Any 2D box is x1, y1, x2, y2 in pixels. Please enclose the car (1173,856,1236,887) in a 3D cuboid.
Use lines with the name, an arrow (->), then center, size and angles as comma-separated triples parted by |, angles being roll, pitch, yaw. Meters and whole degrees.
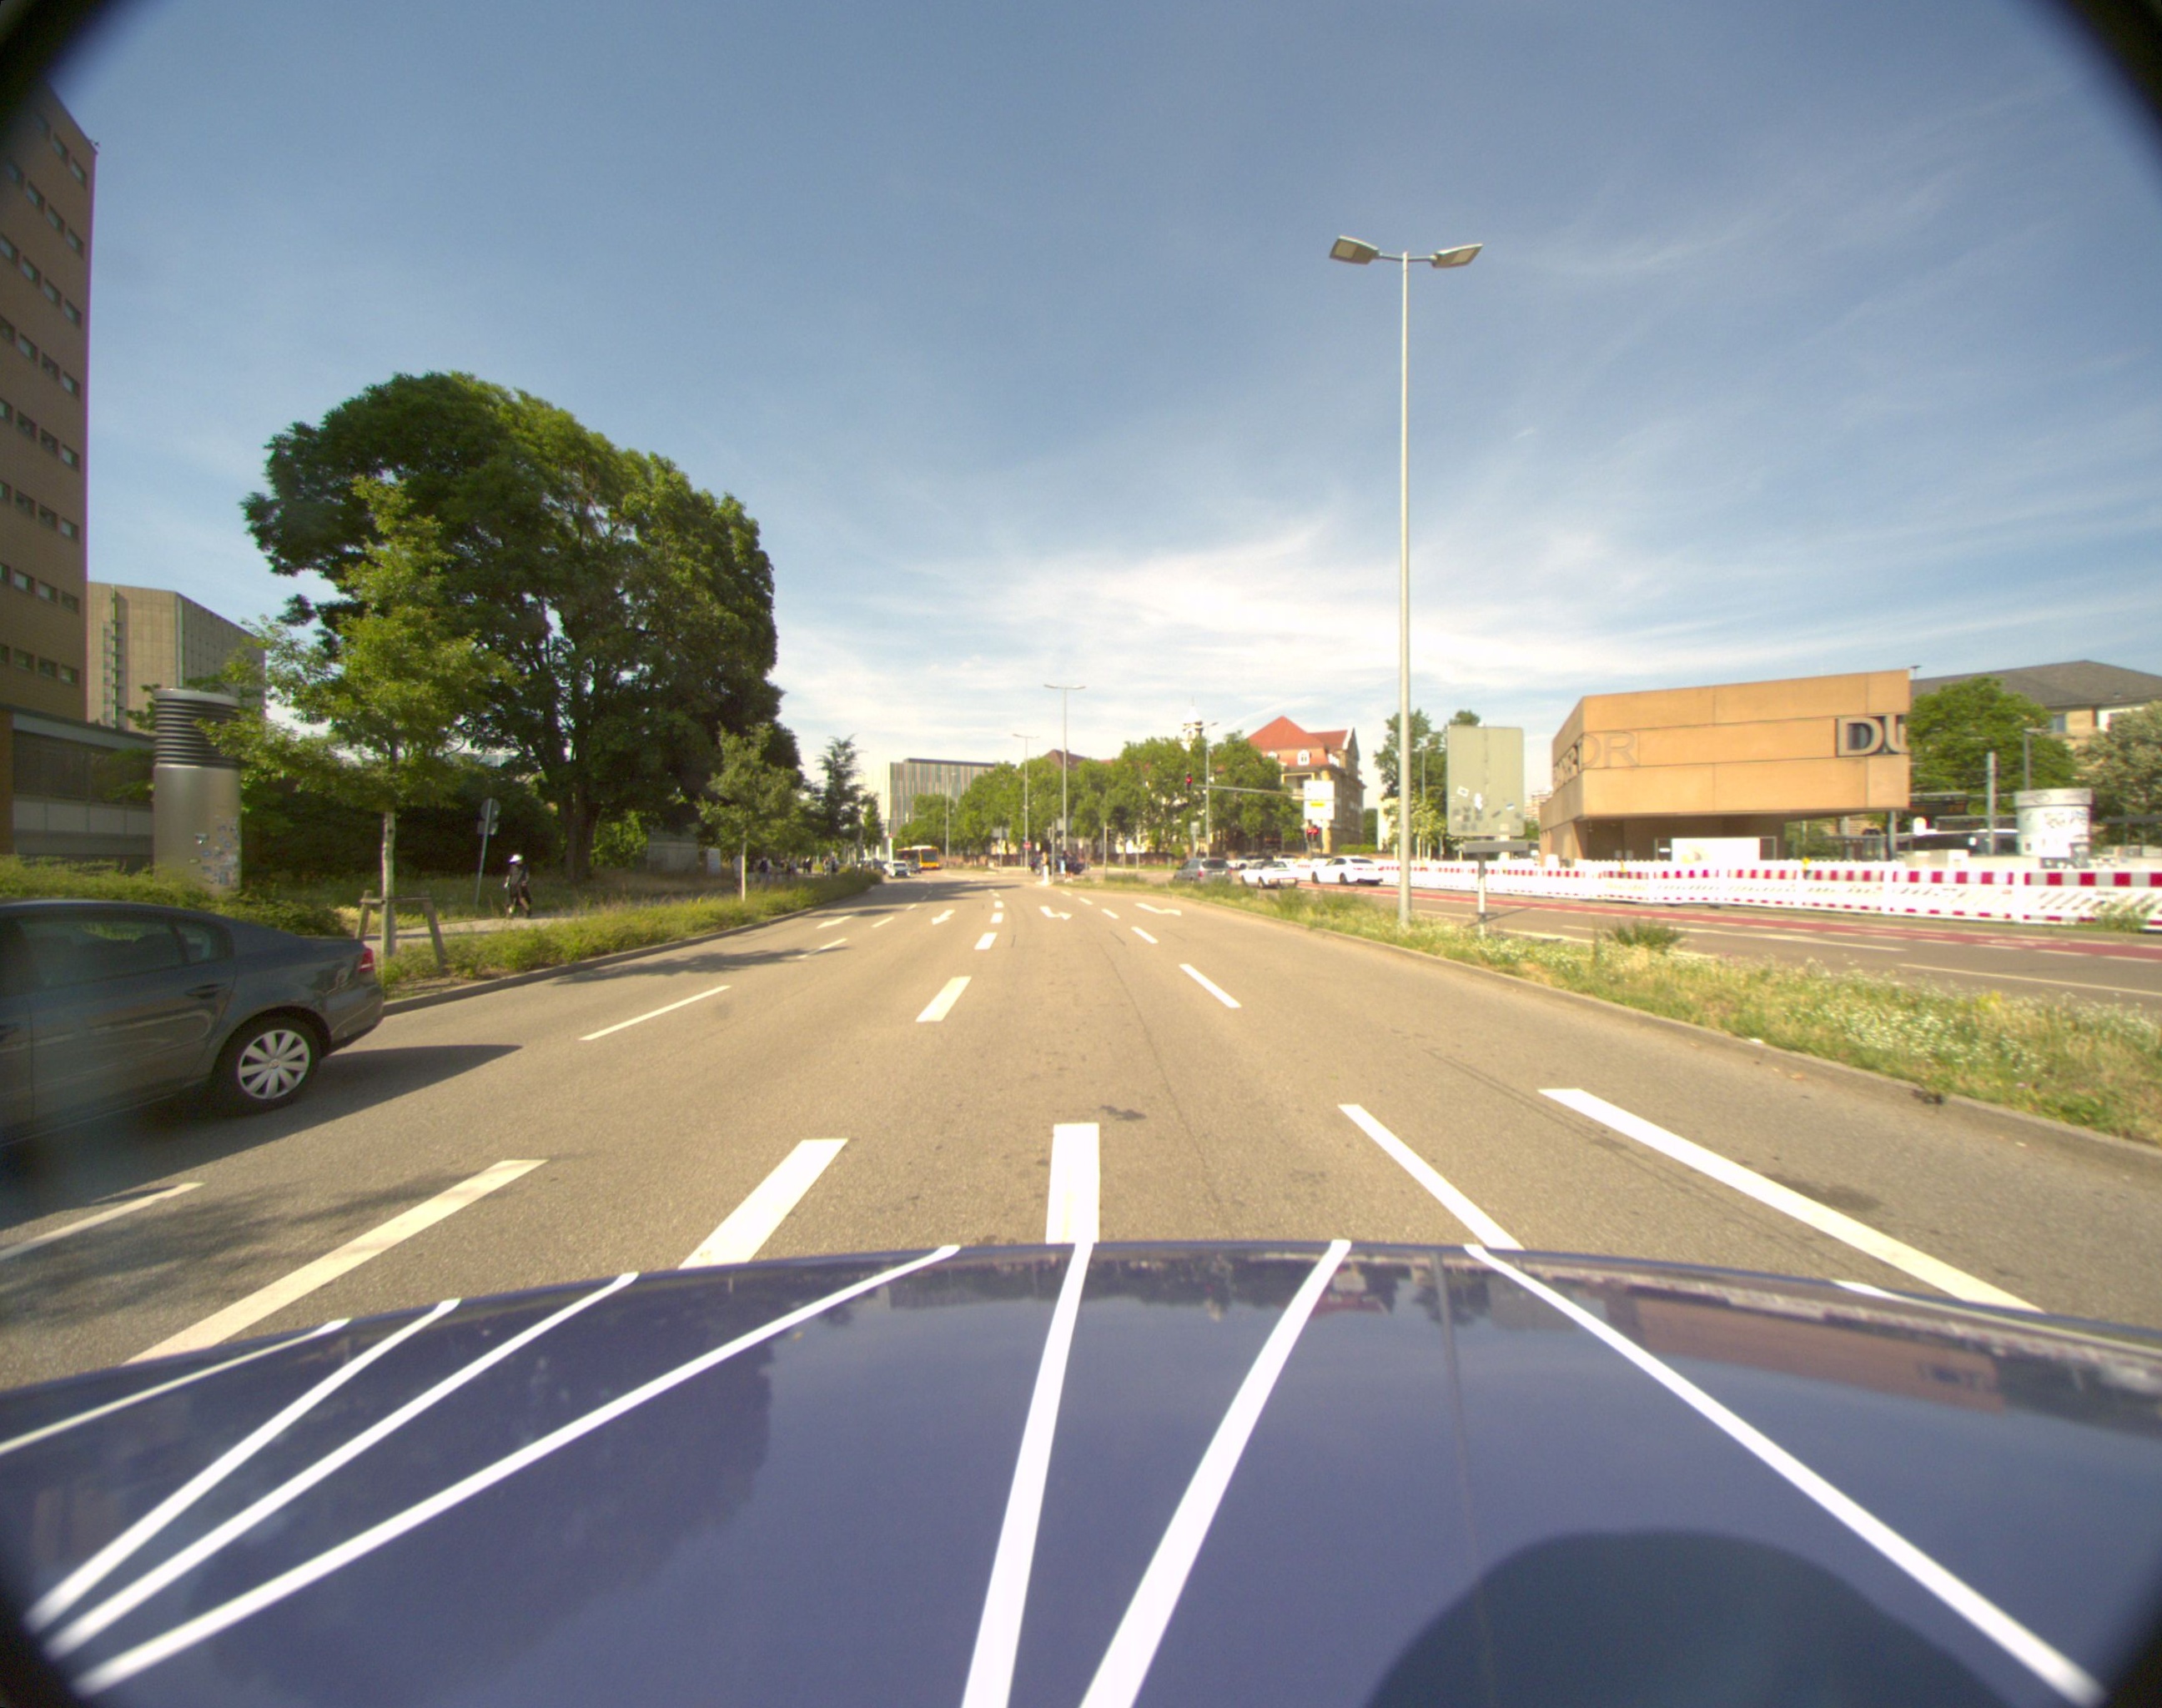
car -> 5.653, 0.757, 35.229 | 1.600, 1.279, 3.996 | -2, 1, -10

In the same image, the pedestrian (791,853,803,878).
pedestrian -> -16.381, 0.675, 43.786 | 0.644, 1.438, 0.568 | 1, 1, -20

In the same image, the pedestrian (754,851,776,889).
pedestrian -> -14.151, 0.690, 33.990 | 0.643, 1.664, 0.752 | 1, 1, 1

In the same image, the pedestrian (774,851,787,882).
pedestrian -> -17.189, 0.698, 43.461 | 0.644, 1.754, 0.474 | 1, 1, -20

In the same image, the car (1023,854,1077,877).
car -> -2.546, 0.928, 61.986 | 4.102, 1.719, 1.762 | -2, 1, 32

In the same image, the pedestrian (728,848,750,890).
pedestrian -> -15.220, 0.668, 33.848 | 0.643, 1.827, 0.731 | 1, 1, 1

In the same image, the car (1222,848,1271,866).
car -> 15.012, 0.300, 68.919 | 4.117, 1.435, 1.756 | -3, 1, -24

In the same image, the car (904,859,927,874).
car -> -17.615, 1.311, 80.801 | 1.653, 1.416, 4.112 | -3, 1, -22

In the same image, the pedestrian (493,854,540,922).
pedestrian -> -13.992, 0.827, 18.845 | 0.592, 1.654, 0.731 | 1, 1, 1

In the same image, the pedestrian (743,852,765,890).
pedestrian -> -14.553, 0.746, 33.843 | 0.643, 1.617, 0.731 | 1, 1, 1

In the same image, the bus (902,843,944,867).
bus -> -21.064, 0.192, 100.491 | 2.800, 3.020, 12.124 | 0, 0, -24

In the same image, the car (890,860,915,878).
car -> -15.786, 1.315, 67.034 | 1.684, 1.466, 3.753 | -3, 1, -20

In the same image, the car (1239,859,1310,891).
car -> 8.789, 0.906, 34.860 | 1.600, 1.279, 3.996 | -2, 1, -10

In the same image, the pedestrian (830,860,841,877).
pedestrian -> -16.244, 0.953, 50.253 | 0.644, 1.125, 0.751 | 1, 1, -15

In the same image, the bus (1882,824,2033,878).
bus -> 59.542, -0.205, 52.130 | 2.751, 3.303, 11.811 | 0, 0, 28

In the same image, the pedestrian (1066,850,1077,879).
pedestrian -> -0.553, 0.590, 44.426 | 0.643, 1.664, 0.752 | 0, 0, 0

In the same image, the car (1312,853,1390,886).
car -> 13.110, 0.707, 37.113 | 1.804, 1.412, 3.996 | -2, 1, -10

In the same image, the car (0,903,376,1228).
car -> -6.067, 1.119, 3.369 | 1.635, 1.427, 4.528 | -1, 1, -1

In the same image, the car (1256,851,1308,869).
car -> 17.031, 0.482, 64.385 | 4.104, 1.427, 1.830 | 0, 0, -28

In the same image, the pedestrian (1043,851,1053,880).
pedestrian -> -1.890, 0.656, 43.752 | 0.541, 1.664, 0.752 | 0, 0, 1

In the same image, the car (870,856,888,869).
car -> -21.380, 0.864, 80.437 | 1.411, 1.287, 3.574 | 0, 0, -22
